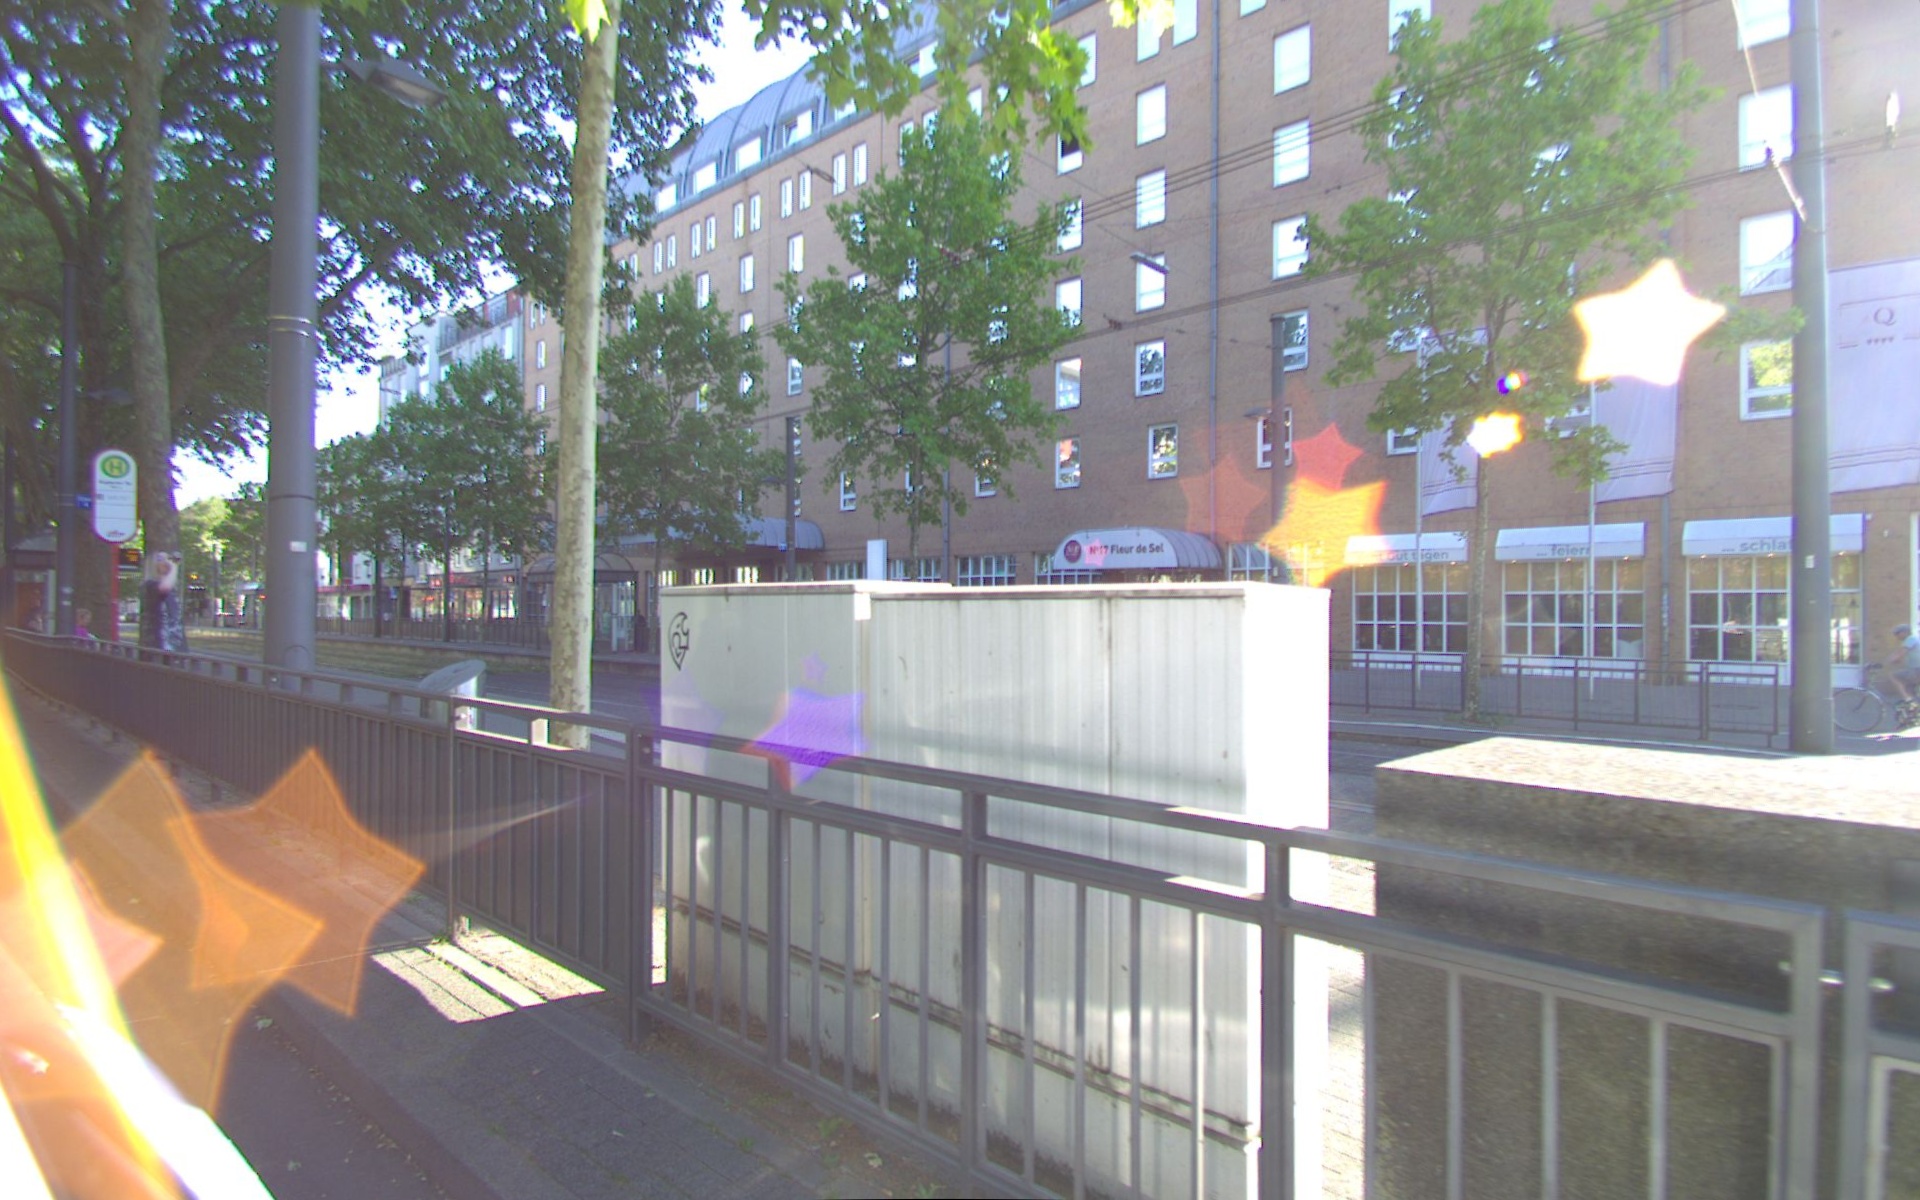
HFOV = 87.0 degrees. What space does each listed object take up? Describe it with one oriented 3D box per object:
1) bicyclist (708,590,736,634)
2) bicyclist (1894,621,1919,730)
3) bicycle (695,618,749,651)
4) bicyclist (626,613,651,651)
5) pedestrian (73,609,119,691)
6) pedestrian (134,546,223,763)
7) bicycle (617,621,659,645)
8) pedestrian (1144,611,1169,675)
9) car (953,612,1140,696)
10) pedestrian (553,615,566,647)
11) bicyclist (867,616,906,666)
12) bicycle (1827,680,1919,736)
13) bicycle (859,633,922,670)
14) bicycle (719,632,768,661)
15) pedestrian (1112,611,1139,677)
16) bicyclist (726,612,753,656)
[{"bbox_3d":[-8.722,0.446,37.067,0.756,1.572,0.676,-3,-3,34],"label":"bicyclist"},{"bbox_3d":[14.720,1.147,15.499,0.513,1.638,0.581,-1,-2,35],"label":"bicyclist"},{"bbox_3d":[-8.702,1.270,37.020,2.105,1.151,0.679,-3,-3,34],"label":"bicycle"},{"bbox_3d":[-13.545,1.363,42.692,0.757,1.581,0.655,-1,-2,34],"label":"bicyclist"},{"bbox_3d":[-14.361,0.819,16.833,0.534,1.327,0.525,-1,0,-37],"label":"pedestrian"},{"bbox_3d":[-6.963,0.461,9.015,0.524,1.848,0.536,0,1,43],"label":"pedestrian"},{"bbox_3d":[-13.591,1.381,42.686,1.897,1.006,0.688,-1,-2,34],"label":"bicycle"},{"bbox_3d":[5.417,1.177,27.915,0.437,1.748,0.545,2,-2,-42],"label":"pedestrian"},{"bbox_3d":[1.987,1.183,23.640,3.993,1.775,1.850,0,0,37],"label":"car"},{"bbox_3d":[-22.660,1.750,57.240,0.574,1.748,0.497,-1,-2,43],"label":"pedestrian"},{"bbox_3d":[-2.251,1.242,31.125,1.031,1.485,0.647,0,-1,36],"label":"bicyclist"},{"bbox_3d":[14.650,1.667,15.537,1.964,0.777,0.585,-1,-2,36],"label":"bicycle"},{"bbox_3d":[-2.136,1.568,31.042,2.009,1.058,0.646,0,0,37],"label":"bicycle"},{"bbox_3d":[-8.019,1.718,37.484,1.897,1.006,0.647,-1,-2,34],"label":"bicycle"},{"bbox_3d":[4.478,1.182,27.309,0.472,1.748,0.545,2,-2,-42],"label":"pedestrian"},{"bbox_3d":[-8.164,1.247,37.461,0.757,1.586,0.655,-1,-2,34],"label":"bicyclist"}]
